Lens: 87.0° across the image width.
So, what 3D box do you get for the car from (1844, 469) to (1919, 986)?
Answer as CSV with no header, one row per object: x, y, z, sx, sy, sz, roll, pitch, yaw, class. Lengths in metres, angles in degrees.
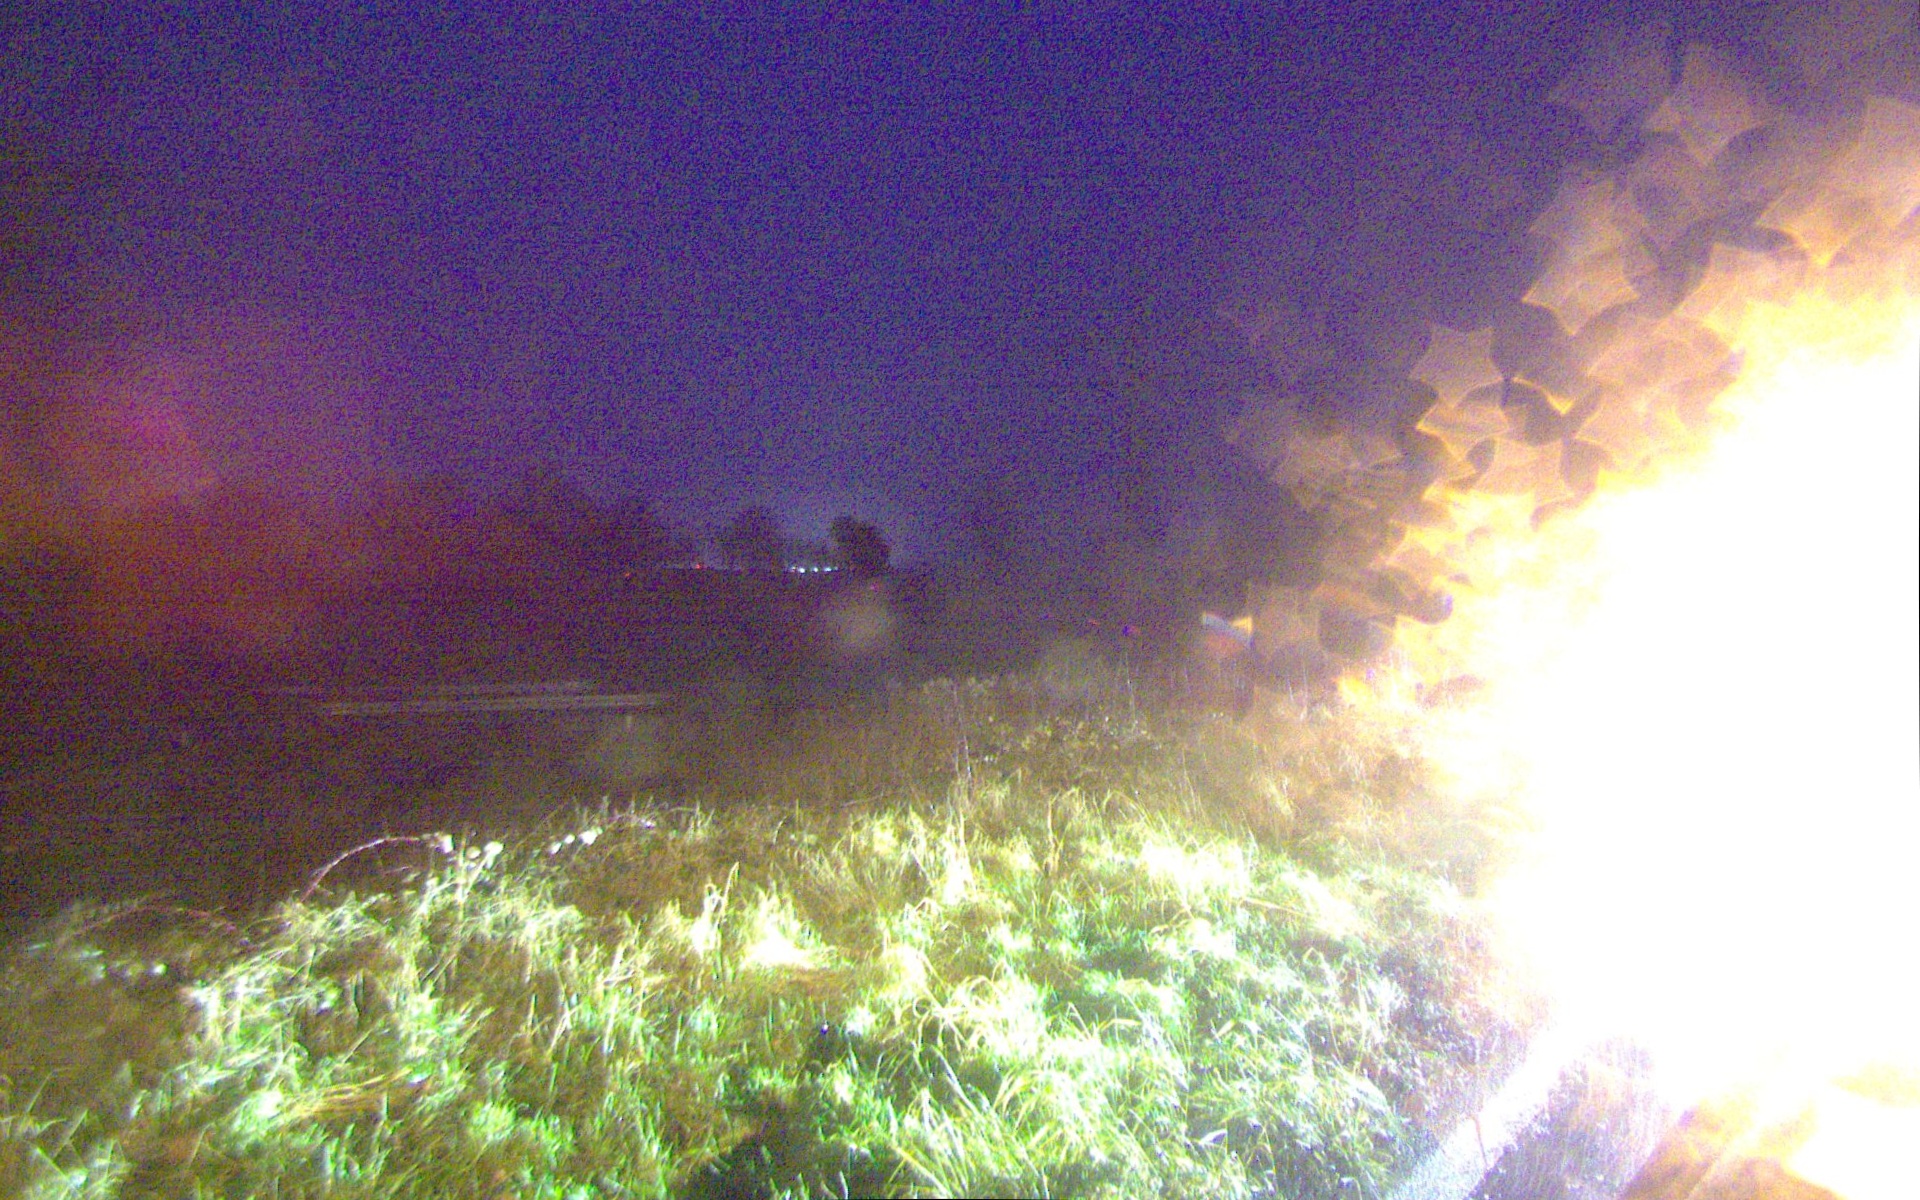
5.686,0.462,4.753,4.298,1.949,1.999,-1,1,-44,car
